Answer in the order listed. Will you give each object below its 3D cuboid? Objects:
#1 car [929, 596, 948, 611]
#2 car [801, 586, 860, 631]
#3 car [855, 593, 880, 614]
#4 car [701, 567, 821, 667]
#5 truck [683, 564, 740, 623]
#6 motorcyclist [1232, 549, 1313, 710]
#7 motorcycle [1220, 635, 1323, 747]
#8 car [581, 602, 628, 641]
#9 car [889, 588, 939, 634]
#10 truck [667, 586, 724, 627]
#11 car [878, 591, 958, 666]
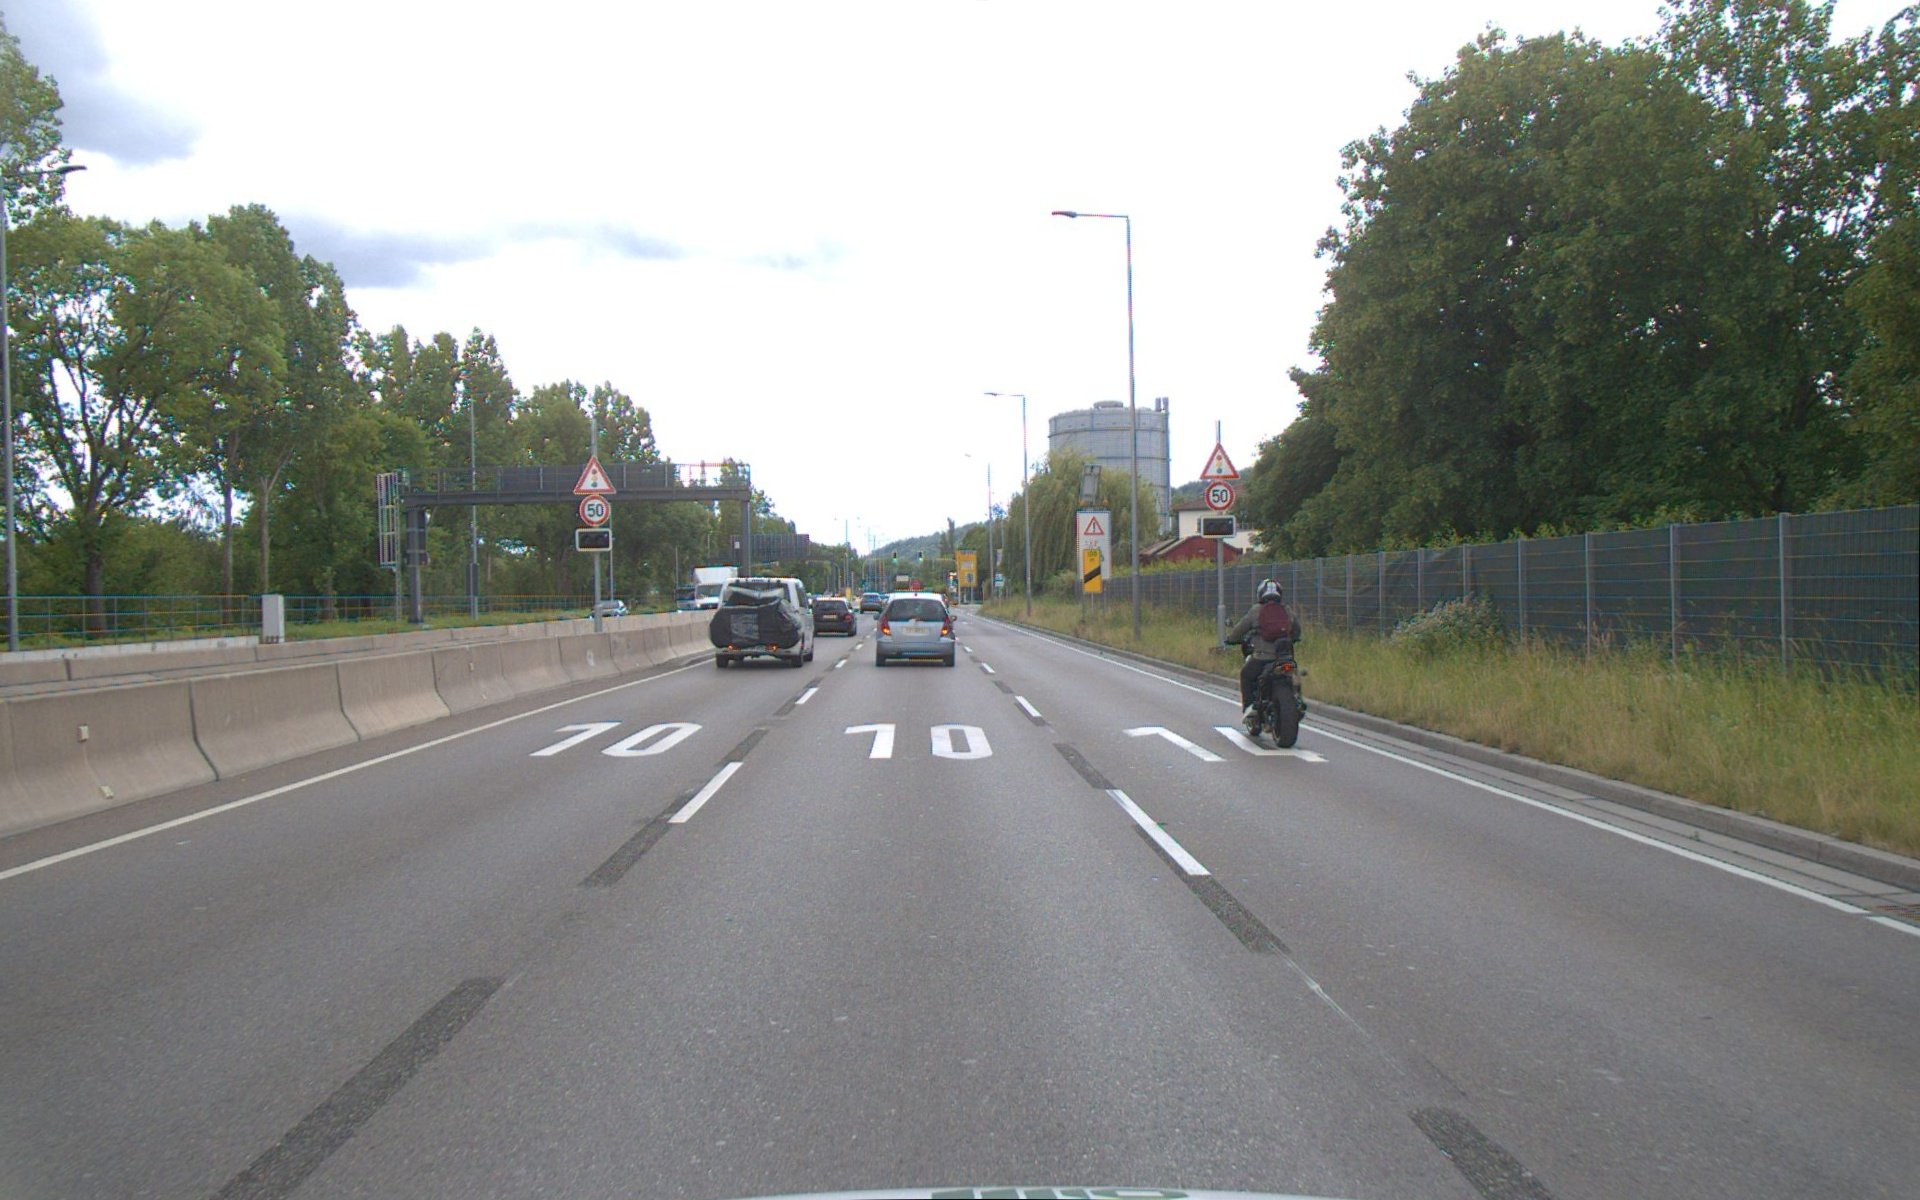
[{"bbox_3d":[-2.341,0.354,180.155,1.954,1.579,3.998,1,0,-3],"label":"car"},{"bbox_3d":[-4.768,0.310,61.356,1.953,1.579,3.999,1,0,-1],"label":"car"},{"bbox_3d":[-7.454,0.273,133.330,1.954,1.579,3.998,1,0,-3],"label":"car"},{"bbox_3d":[-4.204,0.327,35.656,2.170,1.959,4.999,1,0,-3],"label":"car"},{"bbox_3d":[-14.040,-0.358,93.836,2.356,3.161,7.198,1,0,-2],"label":"truck"},{"bbox_3d":[3.279,0.306,17.398,0.671,1.638,0.845,1,0,0],"label":"motorcyclist"},{"bbox_3d":[3.264,0.929,17.484,0.692,1.058,2.027,1,0,0],"label":"motorcycle"},{"bbox_3d":[-20.019,1.191,93.369,1.954,2.049,3.997,1,0,-3],"label":"car"},{"bbox_3d":[-1.767,0.409,64.080,1.869,1.713,3.999,1,0,-1],"label":"car"},{"bbox_3d":[-22.156,0.507,139.309,2.797,3.161,15.878,1,0,-2],"label":"truck"},{"bbox_3d":[-0.961,0.591,37.091,1.676,1.557,3.998,1,0,-2],"label":"car"}]
